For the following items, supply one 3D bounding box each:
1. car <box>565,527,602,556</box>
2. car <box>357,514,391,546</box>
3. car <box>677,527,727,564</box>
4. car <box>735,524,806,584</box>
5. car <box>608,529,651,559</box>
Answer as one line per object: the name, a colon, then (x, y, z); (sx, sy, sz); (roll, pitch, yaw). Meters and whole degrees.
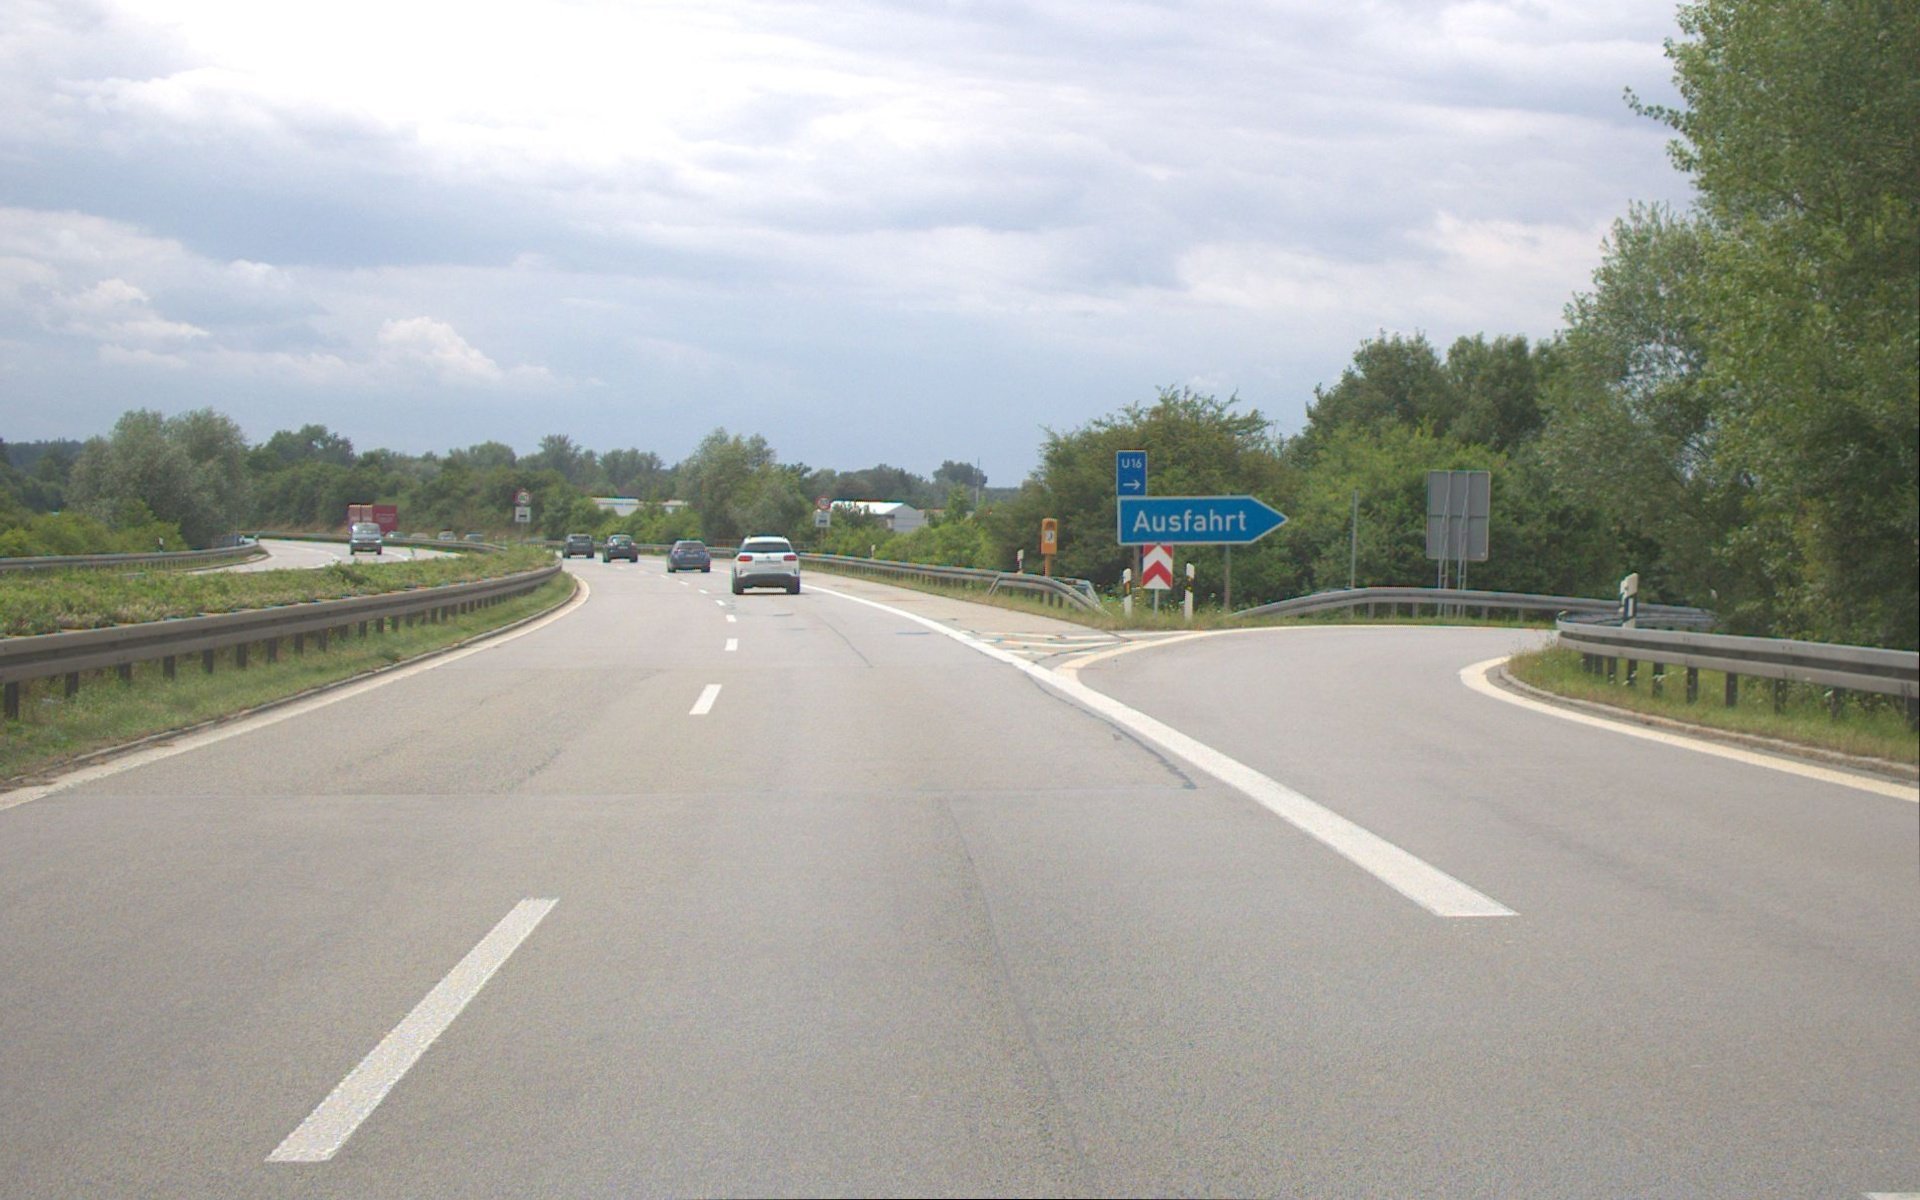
car: (-24.842, -3.874, 226.767); (1.826, 1.787, 4.415); (-2, 2, -13)
car: (-36.154, -4.326, 212.322); (1.700, 1.878, 5.229); (1, 1, -6)
car: (-11.591, -2.466, 154.463); (1.892, 1.634, 4.623); (1, 1, -8)
car: (-5.496, -1.349, 99.258); (1.902, 1.634, 4.397); (1, 1, -5)
car: (-18.977, -3.235, 197.401); (1.902, 1.634, 4.781); (1, 1, -12)
